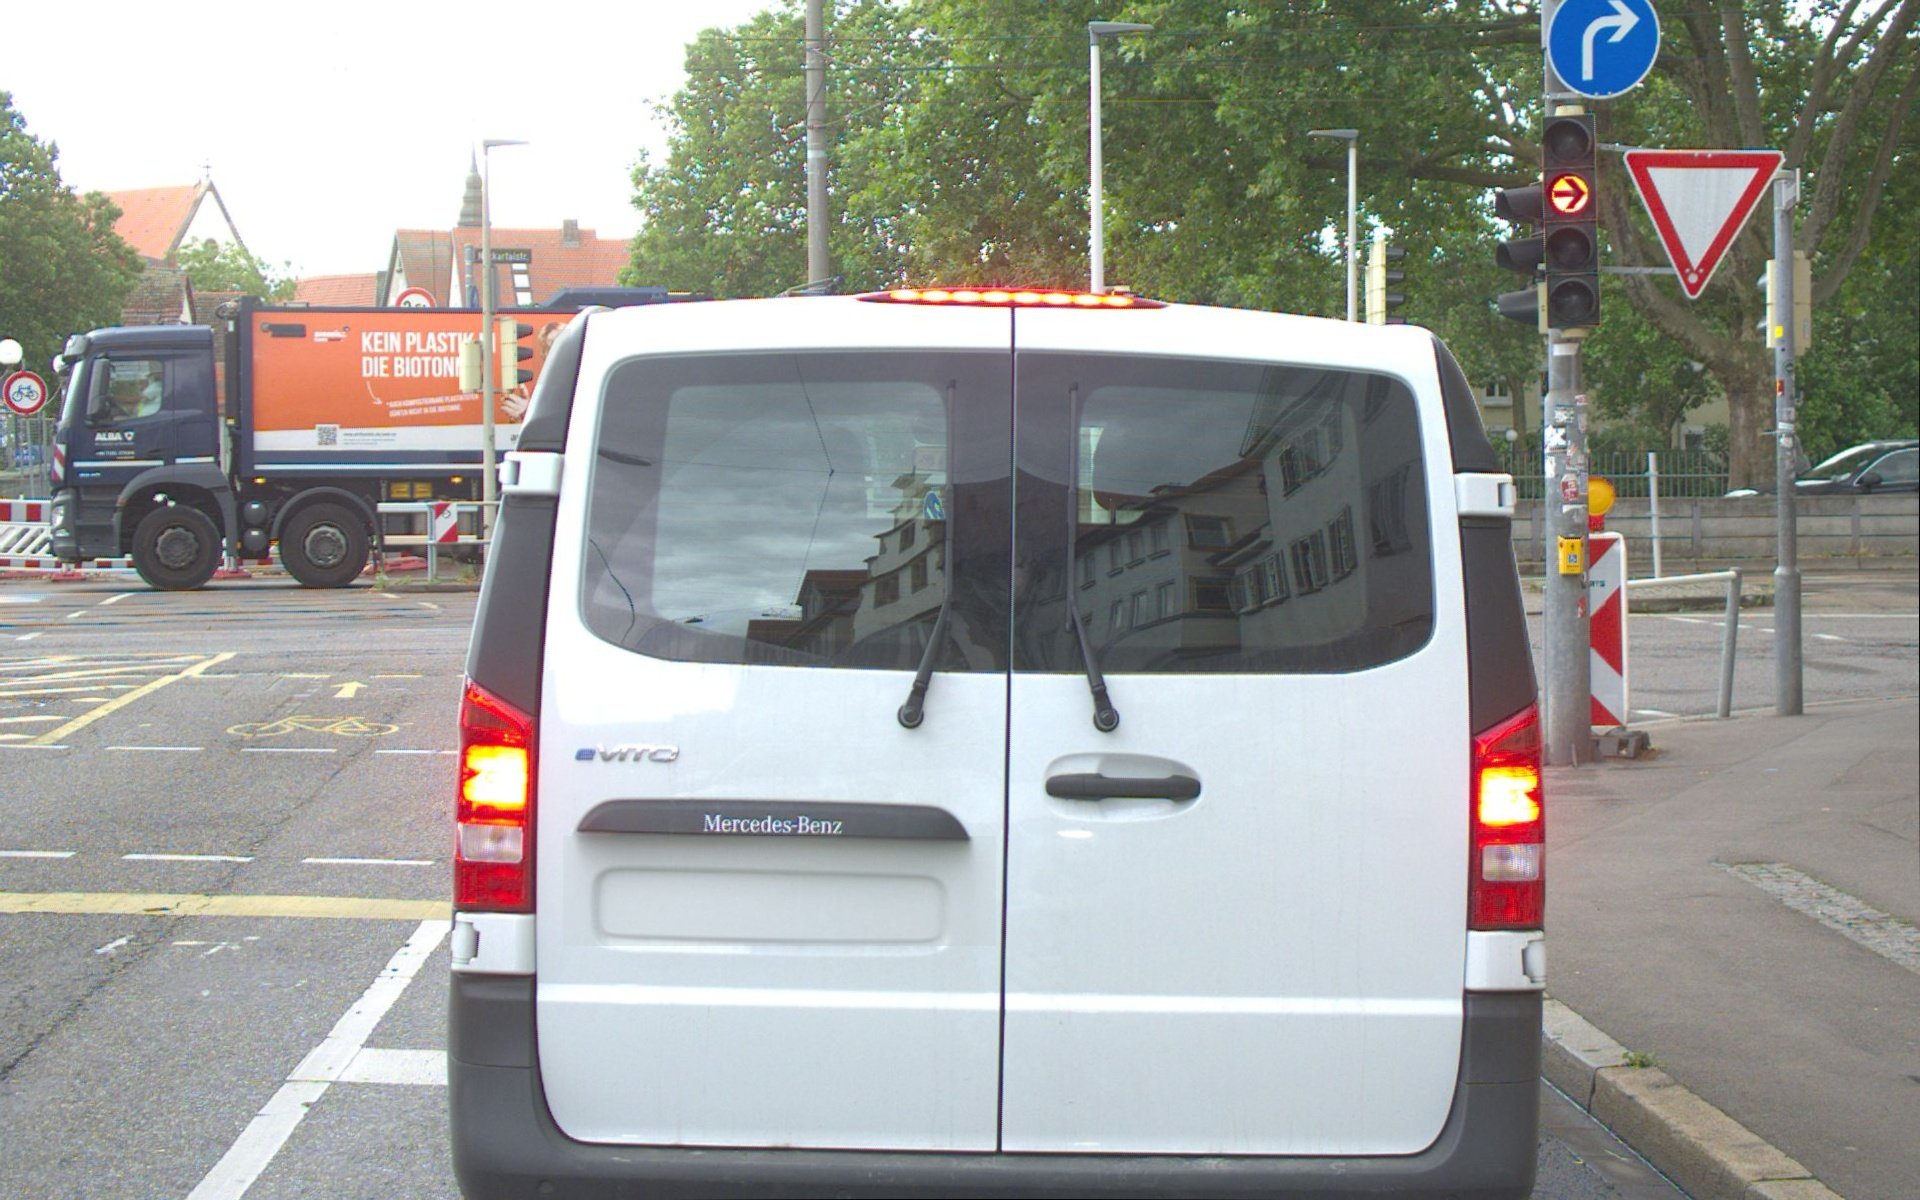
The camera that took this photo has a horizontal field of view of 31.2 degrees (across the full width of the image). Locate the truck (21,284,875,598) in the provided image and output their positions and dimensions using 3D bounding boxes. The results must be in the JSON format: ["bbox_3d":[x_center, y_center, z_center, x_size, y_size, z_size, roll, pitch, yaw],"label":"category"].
[{"bbox_3d":[-6.266,-1.921,42.503,10.182,3.683,2.272,0,1,-12],"label":"truck"}]

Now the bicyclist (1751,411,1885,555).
[{"bbox_3d":[13.020,-1.767,52.204,1.563,2.148,1.248,-1,1,-14],"label":"bicyclist"}]

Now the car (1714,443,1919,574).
[{"bbox_3d":[12.517,-1.238,45.466,4.518,1.628,2.001,-2,1,-8],"label":"car"}]

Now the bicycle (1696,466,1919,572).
[{"bbox_3d":[12.954,-1.233,52.238,3.144,1.564,1.471,-1,1,-14],"label":"bicycle"}]

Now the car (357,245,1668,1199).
[{"bbox_3d":[-0.011,0.325,7.396,1.993,1.916,4.250,1,3,-2],"label":"car"}]
